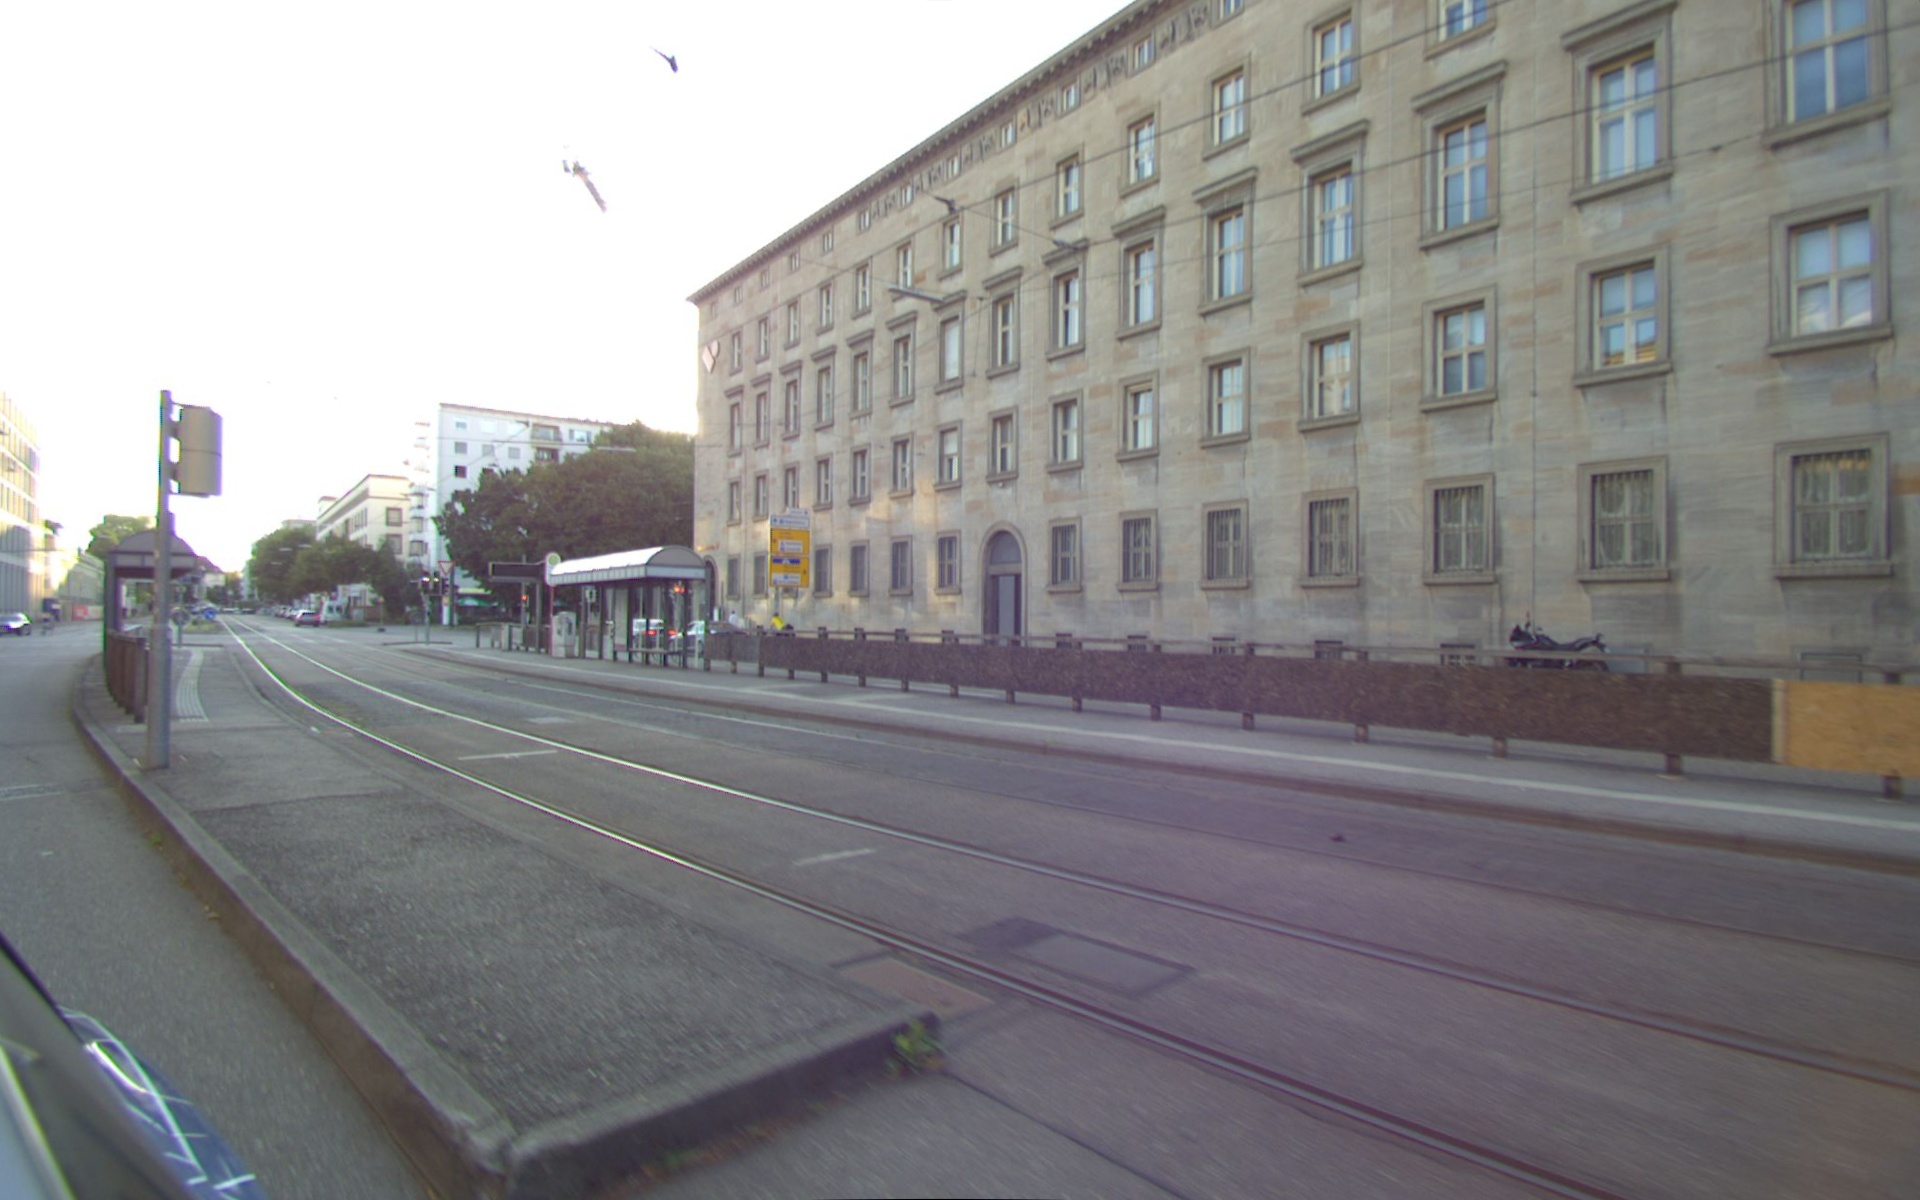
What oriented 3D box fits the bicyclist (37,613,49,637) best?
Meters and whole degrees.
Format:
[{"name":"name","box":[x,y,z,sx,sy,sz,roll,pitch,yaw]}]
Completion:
[{"name":"bicyclist","box":[-61.571,1.670,67.973,0.532,1.648,0.598,1,-2,-37]}]

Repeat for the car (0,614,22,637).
[{"name":"car","box":[-65.048,1.727,68.762,1.789,1.534,4.817,-1,0,-41]}]

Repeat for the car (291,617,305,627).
[{"name":"car","box":[-94.660,3.135,144.673,1.694,1.441,3.820,1,-1,-34]}]

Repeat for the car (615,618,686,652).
[{"name":"car","box":[-13.732,1.502,44.750,1.621,1.438,4.241,1,-1,-37]}]

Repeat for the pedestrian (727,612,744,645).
[{"name":"pedestrian","box":[-11.638,1.485,52.510,0.686,1.723,0.648,1,-1,-34]}]

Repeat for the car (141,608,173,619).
[{"name":"car","box":[-122.752,2.016,154.769,3.747,1.661,1.867,1,-2,-37]}]

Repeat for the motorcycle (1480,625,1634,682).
[{"name":"motorcycle","box":[12.201,1.075,20.795,0.689,1.083,2.659,2,-2,-37]}]

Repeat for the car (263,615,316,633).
[{"name":"car","box":[-64.371,2.324,97.183,4.303,1.676,1.879,0,-1,14]}]

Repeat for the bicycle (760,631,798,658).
[{"name":"bicycle","box":[-7.105,1.740,39.653,0.732,1.025,1.765,1,-1,-36]}]

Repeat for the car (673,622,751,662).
[{"name":"car","box":[-9.766,1.607,39.669,1.621,1.438,3.713,1,-1,-37]}]

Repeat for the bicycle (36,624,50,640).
[{"name":"bicycle","box":[-61.577,2.135,67.971,0.531,1.059,1.765,1,-1,-36]}]

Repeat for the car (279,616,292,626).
[{"name":"car","box":[-106.561,3.298,159.985,1.694,1.441,3.820,1,-1,-34]}]

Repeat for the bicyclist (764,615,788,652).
[{"name":"bicyclist","box":[-7.226,1.303,39.816,0.746,1.451,0.598,1,-2,-37]}]

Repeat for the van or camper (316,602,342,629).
[{"name":"van or camper","box":[-67.173,1.655,107.741,2.077,2.702,4.721,0,-3,-35]}]
